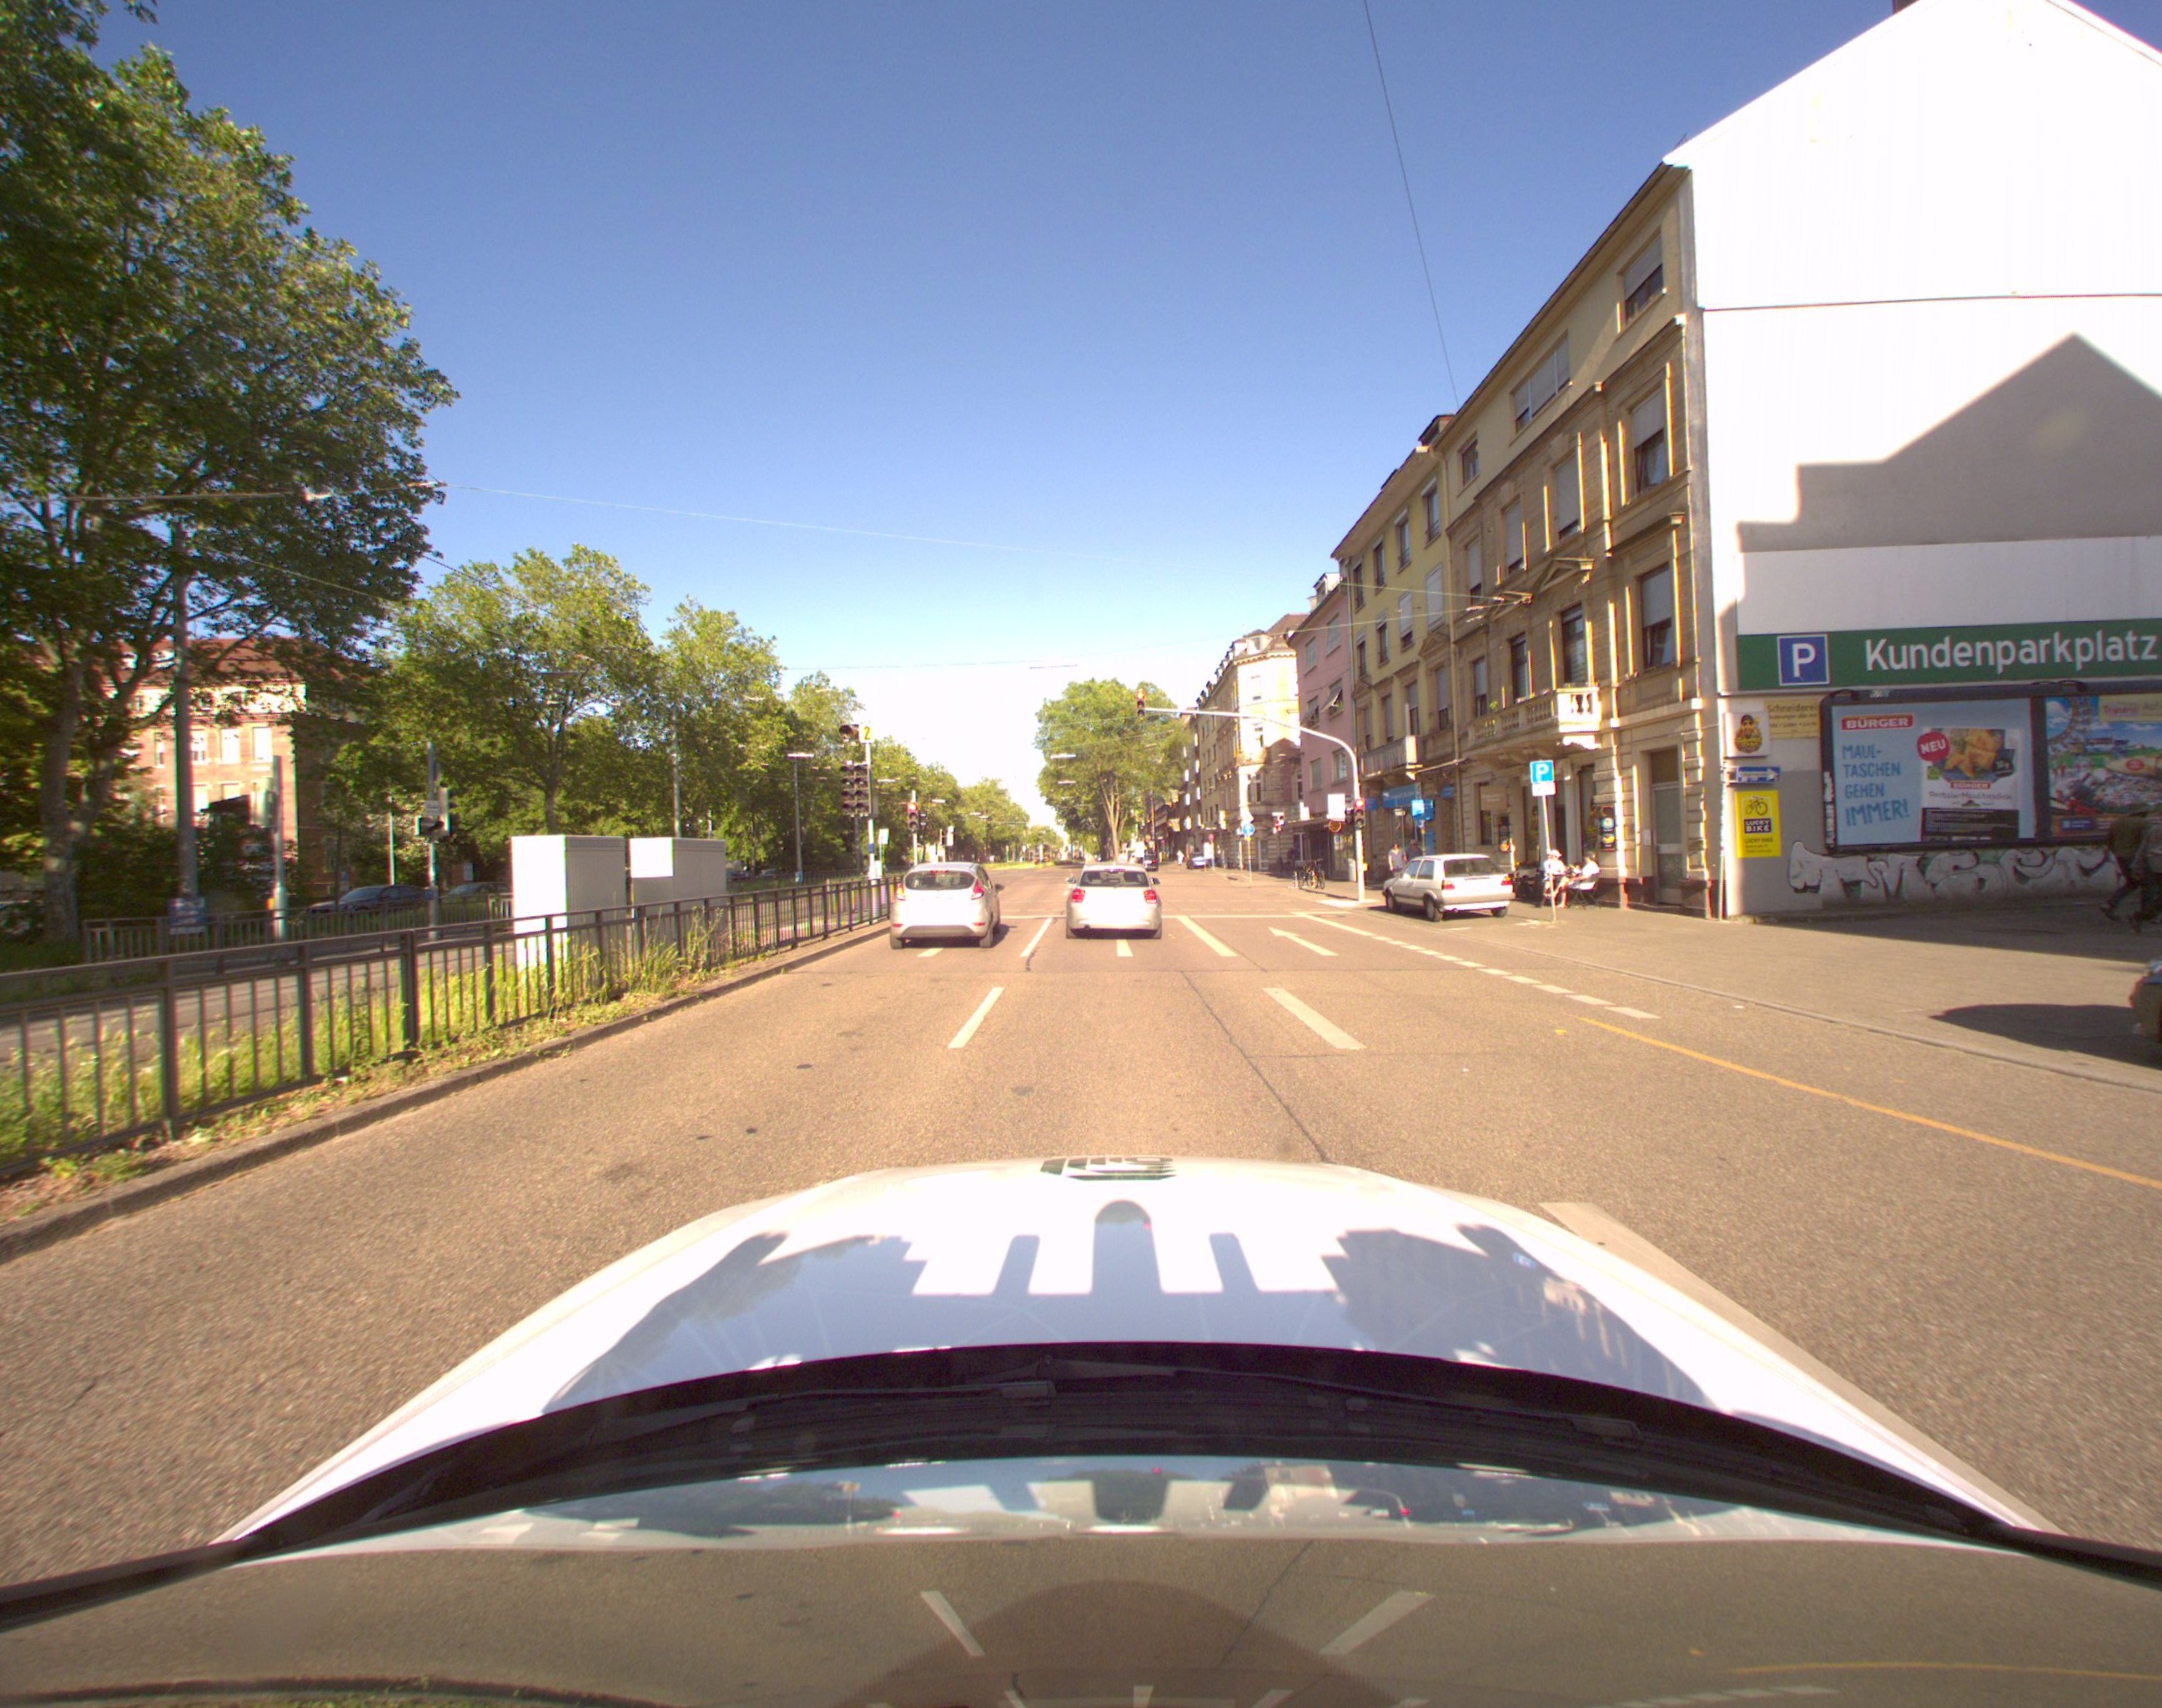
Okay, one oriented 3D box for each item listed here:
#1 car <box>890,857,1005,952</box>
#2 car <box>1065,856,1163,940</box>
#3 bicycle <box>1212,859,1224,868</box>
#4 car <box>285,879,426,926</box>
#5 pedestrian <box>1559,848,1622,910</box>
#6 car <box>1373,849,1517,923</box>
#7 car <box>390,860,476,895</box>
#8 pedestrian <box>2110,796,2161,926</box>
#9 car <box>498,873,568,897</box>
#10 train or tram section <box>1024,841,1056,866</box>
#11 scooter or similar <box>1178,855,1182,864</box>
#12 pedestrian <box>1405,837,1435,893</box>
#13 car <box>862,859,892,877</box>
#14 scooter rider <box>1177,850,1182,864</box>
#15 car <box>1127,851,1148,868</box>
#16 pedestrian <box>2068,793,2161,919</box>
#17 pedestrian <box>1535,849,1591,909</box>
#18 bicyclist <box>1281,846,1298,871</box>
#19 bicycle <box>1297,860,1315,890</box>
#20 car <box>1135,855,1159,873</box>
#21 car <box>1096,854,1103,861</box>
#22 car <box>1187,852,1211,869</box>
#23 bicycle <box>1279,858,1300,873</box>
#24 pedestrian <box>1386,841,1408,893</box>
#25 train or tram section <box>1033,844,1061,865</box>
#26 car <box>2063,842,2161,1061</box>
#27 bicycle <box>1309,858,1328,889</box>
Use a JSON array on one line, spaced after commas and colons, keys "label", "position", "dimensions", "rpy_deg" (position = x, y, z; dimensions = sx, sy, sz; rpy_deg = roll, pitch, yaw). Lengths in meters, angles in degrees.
[{"label": "car", "position": [-2.316, 0.813, 14.986], "dimensions": [1.605, 1.467, 3.886], "rpy_deg": [-1, 0, -3]}, {"label": "car", "position": [0.637, 0.788, 16.433], "dimensions": [1.733, 1.467, 4.001], "rpy_deg": [0, 0, 1]}, {"label": "bicycle", "position": [12.263, 0.844, 72.961], "dimensions": [0.752, 0.770, 1.945], "rpy_deg": [-1, 0, 0]}, {"label": "car", "position": [-27.785, 1.816, 31.406], "dimensions": [1.664, 1.509, 4.145], "rpy_deg": [-2, 0, 0]}, {"label": "pedestrian", "position": [11.162, 0.538, 17.866], "dimensions": [0.899, 1.281, 0.655], "rpy_deg": [-4, 0, -4]}, {"label": "car", "position": [8.275, 0.664, 18.931], "dimensions": [1.557, 1.415, 4.005], "rpy_deg": [-5, 0, 2]}, {"label": "car", "position": [-40.261, 1.440, 50.732], "dimensions": [1.986, 2.013, 4.001], "rpy_deg": [-2, 0, 1]}, {"label": "pedestrian", "position": [14.898, 0.089, 11.296], "dimensions": [0.762, 1.755, 0.510], "rpy_deg": [-2, 0, -19]}, {"label": "car", "position": [-37.714, 2.101, 56.087], "dimensions": [3.968, 1.494, 1.395], "rpy_deg": [-2, 0, 5]}, {"label": "train or tram section", "position": [-6.922, -0.126, 139.665], "dimensions": [3.954, 3.866, 17.495], "rpy_deg": [-1, 0, 2]}, {"label": "scooter or similar", "position": [10.754, 0.575, 88.484], "dimensions": [0.336, 0.988, 1.285], "rpy_deg": [-1, 0, 2]}, {"label": "pedestrian", "position": [11.249, 0.364, 27.030], "dimensions": [0.670, 1.806, 0.531], "rpy_deg": [-3, 0, 1]}, {"label": "car", "position": [-18.487, 1.270, 73.975], "dimensions": [1.679, 1.499, 4.340], "rpy_deg": [-1, 0, -1]}, {"label": "scooter rider", "position": [10.712, 0.299, 88.393], "dimensions": [0.463, 1.505, 0.811], "rpy_deg": [-1, -1, 3]}, {"label": "car", "position": [5.361, 0.514, 77.780], "dimensions": [1.719, 1.507, 3.555], "rpy_deg": [0, 0, 0]}, {"label": "pedestrian", "position": [15.815, 0.019, 12.378], "dimensions": [0.761, 1.841, 0.745], "rpy_deg": [-2, 0, -13]}, {"label": "pedestrian", "position": [10.960, 0.553, 18.533], "dimensions": [0.795, 1.281, 0.608], "rpy_deg": [-5, 0, -1]}, {"label": "bicyclist", "position": [12.689, 0.290, 49.551], "dimensions": [0.541, 1.502, 0.967], "rpy_deg": [-2, 0, 43]}, {"label": "bicycle", "position": [8.845, 0.815, 32.069], "dimensions": [0.411, 1.141, 1.813], "rpy_deg": [-1, 0, 8]}, {"label": "car", "position": [5.397, 0.796, 66.905], "dimensions": [1.730, 1.433, 3.677], "rpy_deg": [0, 0, 0]}, {"label": "car", "position": [5.755, 1.055, 253.062], "dimensions": [1.986, 2.013, 4.002], "rpy_deg": [-2, 0, 2]}, {"label": "car", "position": [10.479, 0.580, 72.566], "dimensions": [1.729, 1.519, 3.637], "rpy_deg": [0, 0, 1]}, {"label": "bicycle", "position": [12.703, 0.693, 49.535], "dimensions": [0.646, 0.903, 1.346], "rpy_deg": [-1, 0, 43]}, {"label": "pedestrian", "position": [10.600, 0.432, 27.327], "dimensions": [0.547, 1.708, 0.389], "rpy_deg": [-2, 0, 4]}, {"label": "train or tram section", "position": [-6.408, 0.108, 157.139], "dimensions": [3.990, 3.866, 17.495], "rpy_deg": [-1, 0, 2]}, {"label": "car", "position": [8.347, 0.639, 3.810], "dimensions": [1.826, 1.487, 4.736], "rpy_deg": [-4, 0, 2]}, {"label": "bicycle", "position": [9.341, 0.741, 32.055], "dimensions": [0.446, 1.159, 1.762], "rpy_deg": [-2, 0, 7]}]
